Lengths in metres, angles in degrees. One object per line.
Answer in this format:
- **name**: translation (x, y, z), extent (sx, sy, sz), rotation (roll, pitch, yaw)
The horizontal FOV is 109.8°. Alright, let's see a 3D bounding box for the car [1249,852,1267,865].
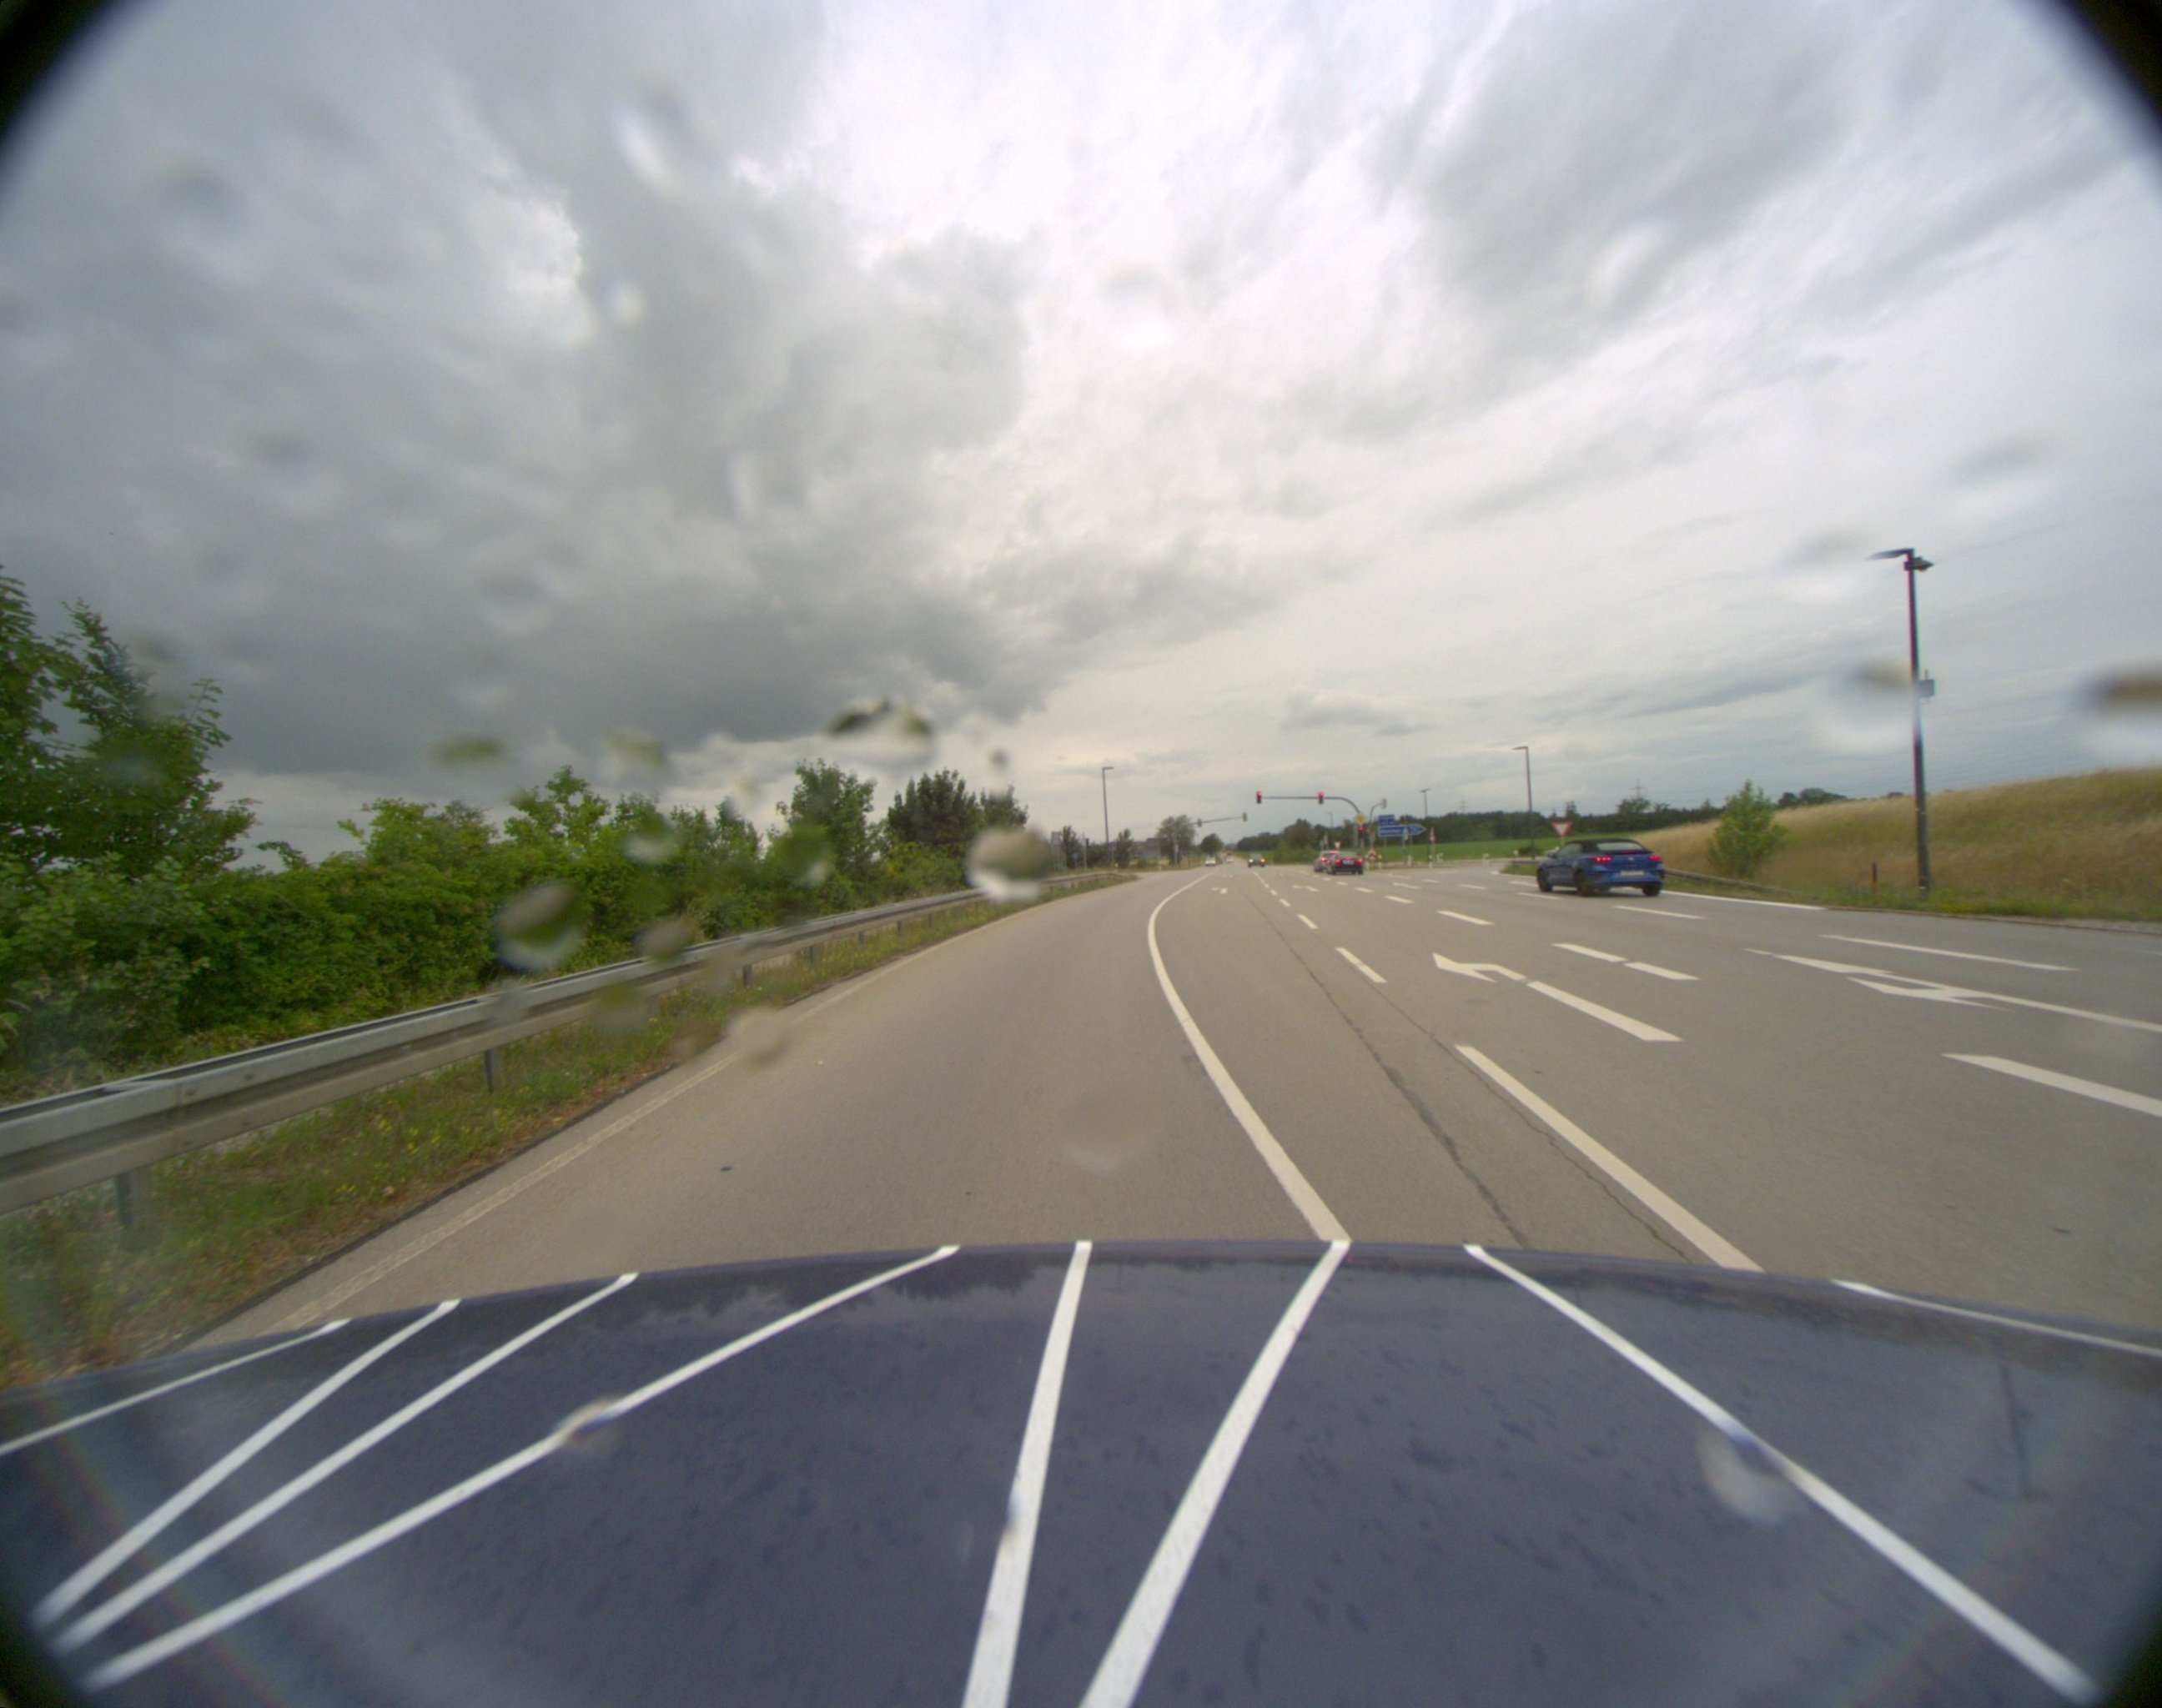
- **car**: translation (23.503, 0.589, 100.724), extent (1.996, 1.674, 5.005), rotation (-3, -1, 16)

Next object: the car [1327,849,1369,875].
- **car**: translation (16.302, 0.466, 46.597), extent (1.710, 1.402, 4.678), rotation (-3, 0, 11)

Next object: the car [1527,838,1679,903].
- **car**: translation (14.053, 0.392, 20.759), extent (1.801, 1.541, 4.002), rotation (-3, 0, 8)

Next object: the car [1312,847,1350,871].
- **car**: translation (17.616, 0.341, 53.829), extent (1.918, 1.601, 4.953), rotation (-1, 0, 11)
